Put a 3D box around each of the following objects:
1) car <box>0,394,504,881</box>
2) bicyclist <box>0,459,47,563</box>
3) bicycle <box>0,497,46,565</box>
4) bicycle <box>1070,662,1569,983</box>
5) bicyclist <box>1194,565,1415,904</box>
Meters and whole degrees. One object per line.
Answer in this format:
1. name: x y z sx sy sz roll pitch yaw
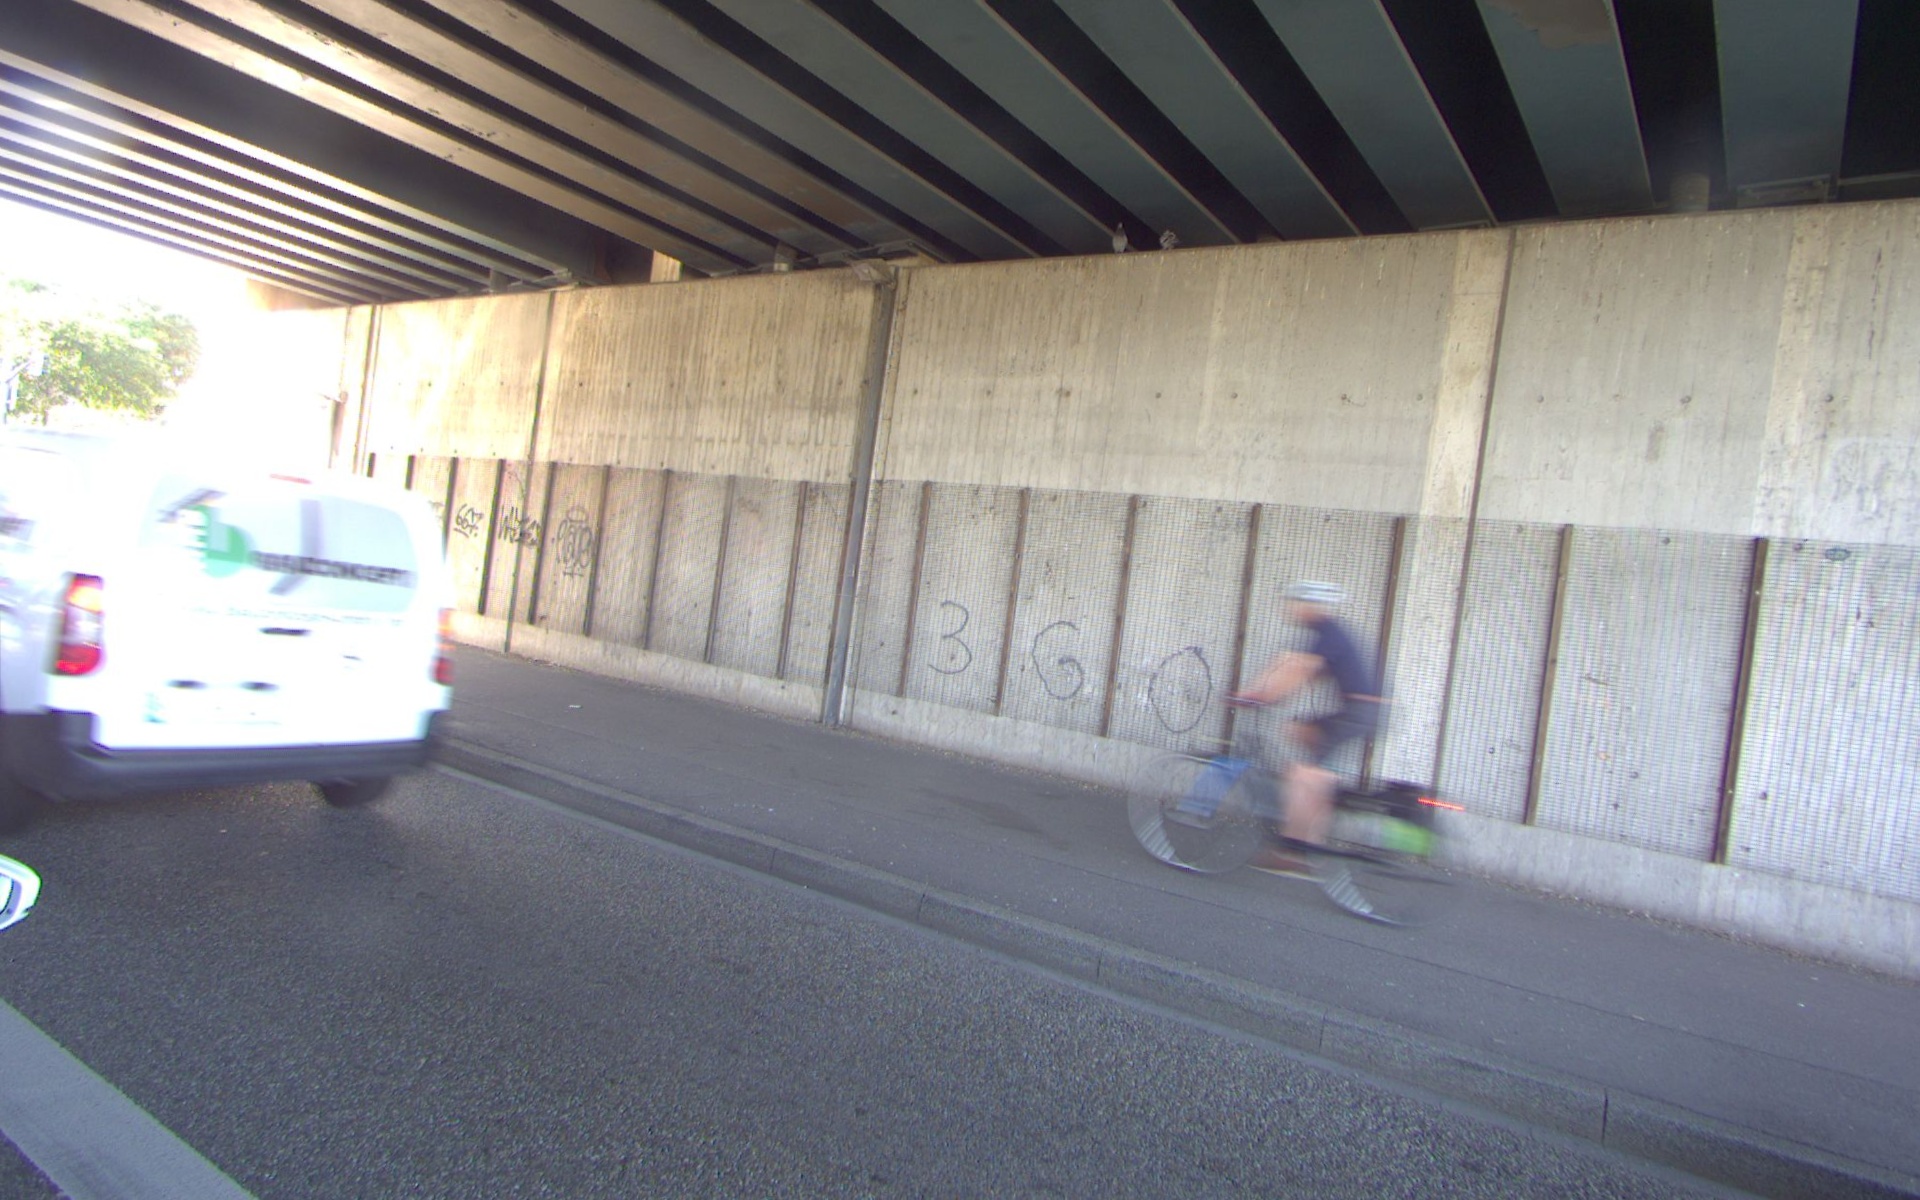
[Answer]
1. car: -4.829 -0.012 5.673 4.227 1.855 1.818 8 -1 30
2. bicyclist: -16.020 -1.510 16.993 0.635 1.647 0.676 6 -2 42
3. bicycle: -15.991 -1.183 16.933 1.508 1.036 0.676 6 -2 43
4. bicycle: 1.949 1.112 5.697 2.428 1.161 0.766 8 3 31
5. bicyclist: 1.960 0.718 5.685 0.871 1.674 0.748 7 -1 31
